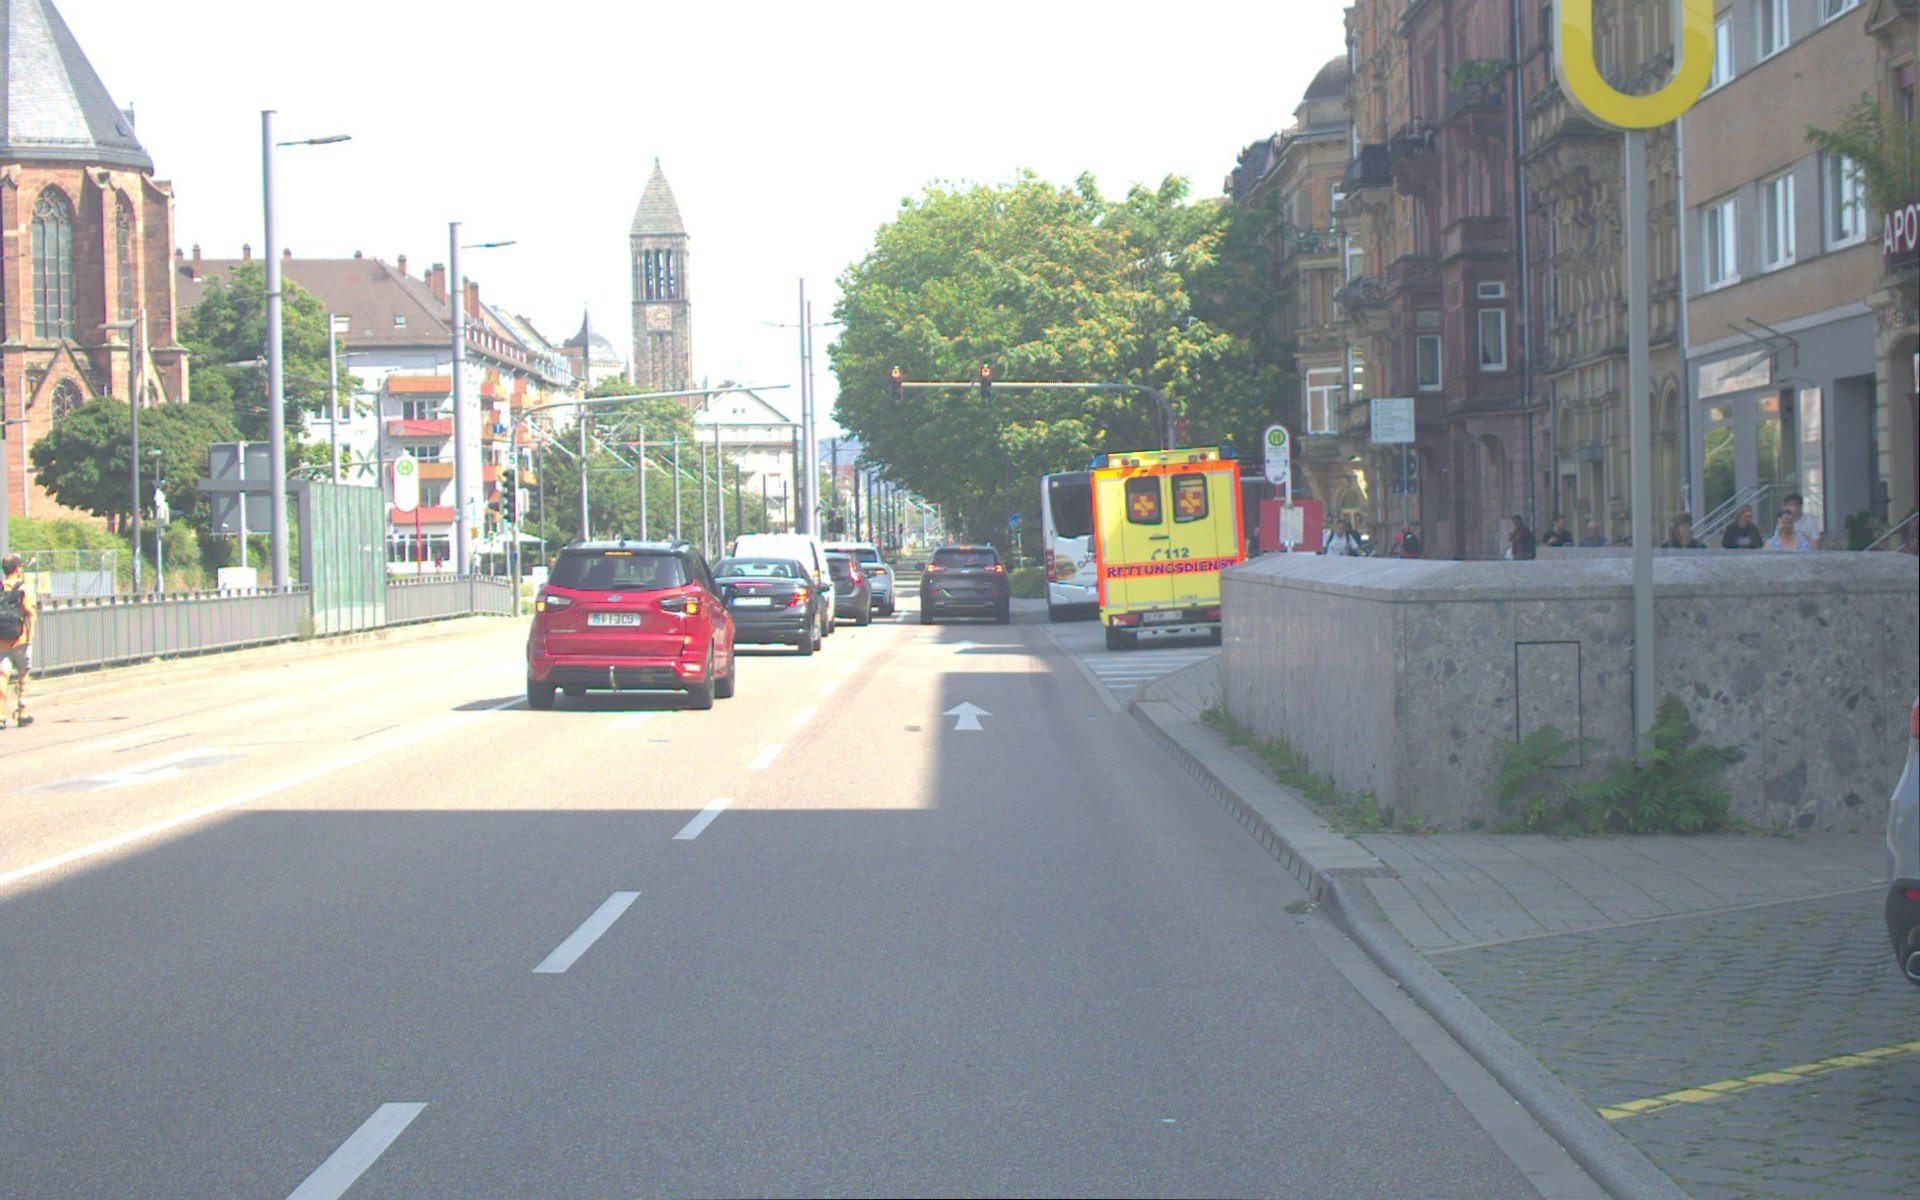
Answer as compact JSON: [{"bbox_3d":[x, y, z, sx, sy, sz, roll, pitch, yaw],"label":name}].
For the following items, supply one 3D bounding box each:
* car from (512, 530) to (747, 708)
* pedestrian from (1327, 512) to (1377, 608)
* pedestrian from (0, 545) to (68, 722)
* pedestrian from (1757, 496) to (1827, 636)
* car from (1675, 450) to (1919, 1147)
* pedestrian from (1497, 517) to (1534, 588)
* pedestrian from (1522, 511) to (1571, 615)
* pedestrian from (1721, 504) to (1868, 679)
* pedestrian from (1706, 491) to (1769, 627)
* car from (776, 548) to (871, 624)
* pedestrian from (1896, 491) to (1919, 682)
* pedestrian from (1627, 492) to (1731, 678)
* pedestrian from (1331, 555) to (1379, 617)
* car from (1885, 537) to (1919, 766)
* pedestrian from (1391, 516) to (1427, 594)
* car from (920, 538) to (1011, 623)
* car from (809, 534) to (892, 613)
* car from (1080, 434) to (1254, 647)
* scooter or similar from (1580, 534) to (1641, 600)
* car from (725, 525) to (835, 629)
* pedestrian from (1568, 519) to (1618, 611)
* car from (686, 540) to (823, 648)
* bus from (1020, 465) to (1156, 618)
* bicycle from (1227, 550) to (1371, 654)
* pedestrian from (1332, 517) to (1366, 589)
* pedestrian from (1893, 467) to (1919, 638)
[{"bbox_3d":[-3.204,0.138,34.054,1.762,1.612,4.082,-1,1,2],"label":"car"},{"bbox_3d":[6.904,-0.707,60.580,0.698,1.661,0.602,-1,1,26],"label":"pedestrian"},{"bbox_3d":[-9.533,0.332,34.429,0.761,1.746,1.068,-1,0,8],"label":"pedestrian"},{"bbox_3d":[10.964,-0.448,45.330,0.599,1.789,0.880,-4,1,0],"label":"pedestrian"},{"bbox_3d":[4.293,0.413,9.704,4.653,1.708,2.043,-2,2,-41],"label":"car"},{"bbox_3d":[12.596,-1.072,77.985,0.622,1.587,0.696,-2,1,-5],"label":"pedestrian"},{"bbox_3d":[9.610,-0.609,56.358,0.643,1.679,0.789,-1,1,0],"label":"pedestrian"},{"bbox_3d":[7.691,-0.081,31.704,0.850,1.576,0.971,-2,1,-33],"label":"pedestrian"},{"bbox_3d":[10.238,-0.541,45.285,0.577,1.744,0.679,-4,1,0],"label":"pedestrian"},{"bbox_3d":[-2.730,-0.283,69.498,1.790,1.467,4.000,-1,0,-1],"label":"car"},{"bbox_3d":[8.437,-0.125,28.475,0.850,1.576,0.971,-2,1,-33],"label":"pedestrian"},{"bbox_3d":[6.980,-0.160,33.408,0.850,1.723,0.971,-2,3,7],"label":"pedestrian"},{"bbox_3d":[11.667,-0.416,101.562,1.249,1.745,1.526,-1,3,1],"label":"pedestrian"},{"bbox_3d":[6.885,0.355,20.713,1.631,1.435,3.620,-1,2,0],"label":"car"},{"bbox_3d":[9.653,-0.962,73.972,0.697,1.661,0.603,-1,1,2],"label":"pedestrian"},{"bbox_3d":[0.087,-0.402,71.259,1.790,1.672,4.000,-1,0,-1],"label":"car"},{"bbox_3d":[-2.451,-0.589,77.625,1.790,1.692,4.000,-1,0,-1],"label":"car"},{"bbox_3d":[3.078,-0.900,50.762,2.299,2.878,5.598,-2,1,4],"label":"car"},{"bbox_3d":[11.994,-0.610,63.411,0.512,1.192,1.305,-2,1,-19],"label":"scooter or similar"},{"bbox_3d":[-3.198,-0.400,61.660,1.790,1.774,4.000,-1,0,-1],"label":"car"},{"bbox_3d":[10.371,-0.580,56.352,0.643,1.488,0.789,-1,1,0],"label":"pedestrian"},{"bbox_3d":[-2.915,-0.116,49.377,1.790,1.426,4.000,-1,1,-1],"label":"car"},{"bbox_3d":[2.686,-1.282,75.634,2.534,3.021,12.436,-1,1,0],"label":"bus"},{"bbox_3d":[4.020,0.020,40.745,1.674,1.211,0.644,-1,1,6],"label":"bicycle"},{"bbox_3d":[9.209,-1.116,81.389,0.697,1.661,1.064,-1,1,2],"label":"pedestrian"},{"bbox_3d":[10.259,-0.516,35.997,0.684,1.768,1.018,-1,2,0],"label":"pedestrian"}]
